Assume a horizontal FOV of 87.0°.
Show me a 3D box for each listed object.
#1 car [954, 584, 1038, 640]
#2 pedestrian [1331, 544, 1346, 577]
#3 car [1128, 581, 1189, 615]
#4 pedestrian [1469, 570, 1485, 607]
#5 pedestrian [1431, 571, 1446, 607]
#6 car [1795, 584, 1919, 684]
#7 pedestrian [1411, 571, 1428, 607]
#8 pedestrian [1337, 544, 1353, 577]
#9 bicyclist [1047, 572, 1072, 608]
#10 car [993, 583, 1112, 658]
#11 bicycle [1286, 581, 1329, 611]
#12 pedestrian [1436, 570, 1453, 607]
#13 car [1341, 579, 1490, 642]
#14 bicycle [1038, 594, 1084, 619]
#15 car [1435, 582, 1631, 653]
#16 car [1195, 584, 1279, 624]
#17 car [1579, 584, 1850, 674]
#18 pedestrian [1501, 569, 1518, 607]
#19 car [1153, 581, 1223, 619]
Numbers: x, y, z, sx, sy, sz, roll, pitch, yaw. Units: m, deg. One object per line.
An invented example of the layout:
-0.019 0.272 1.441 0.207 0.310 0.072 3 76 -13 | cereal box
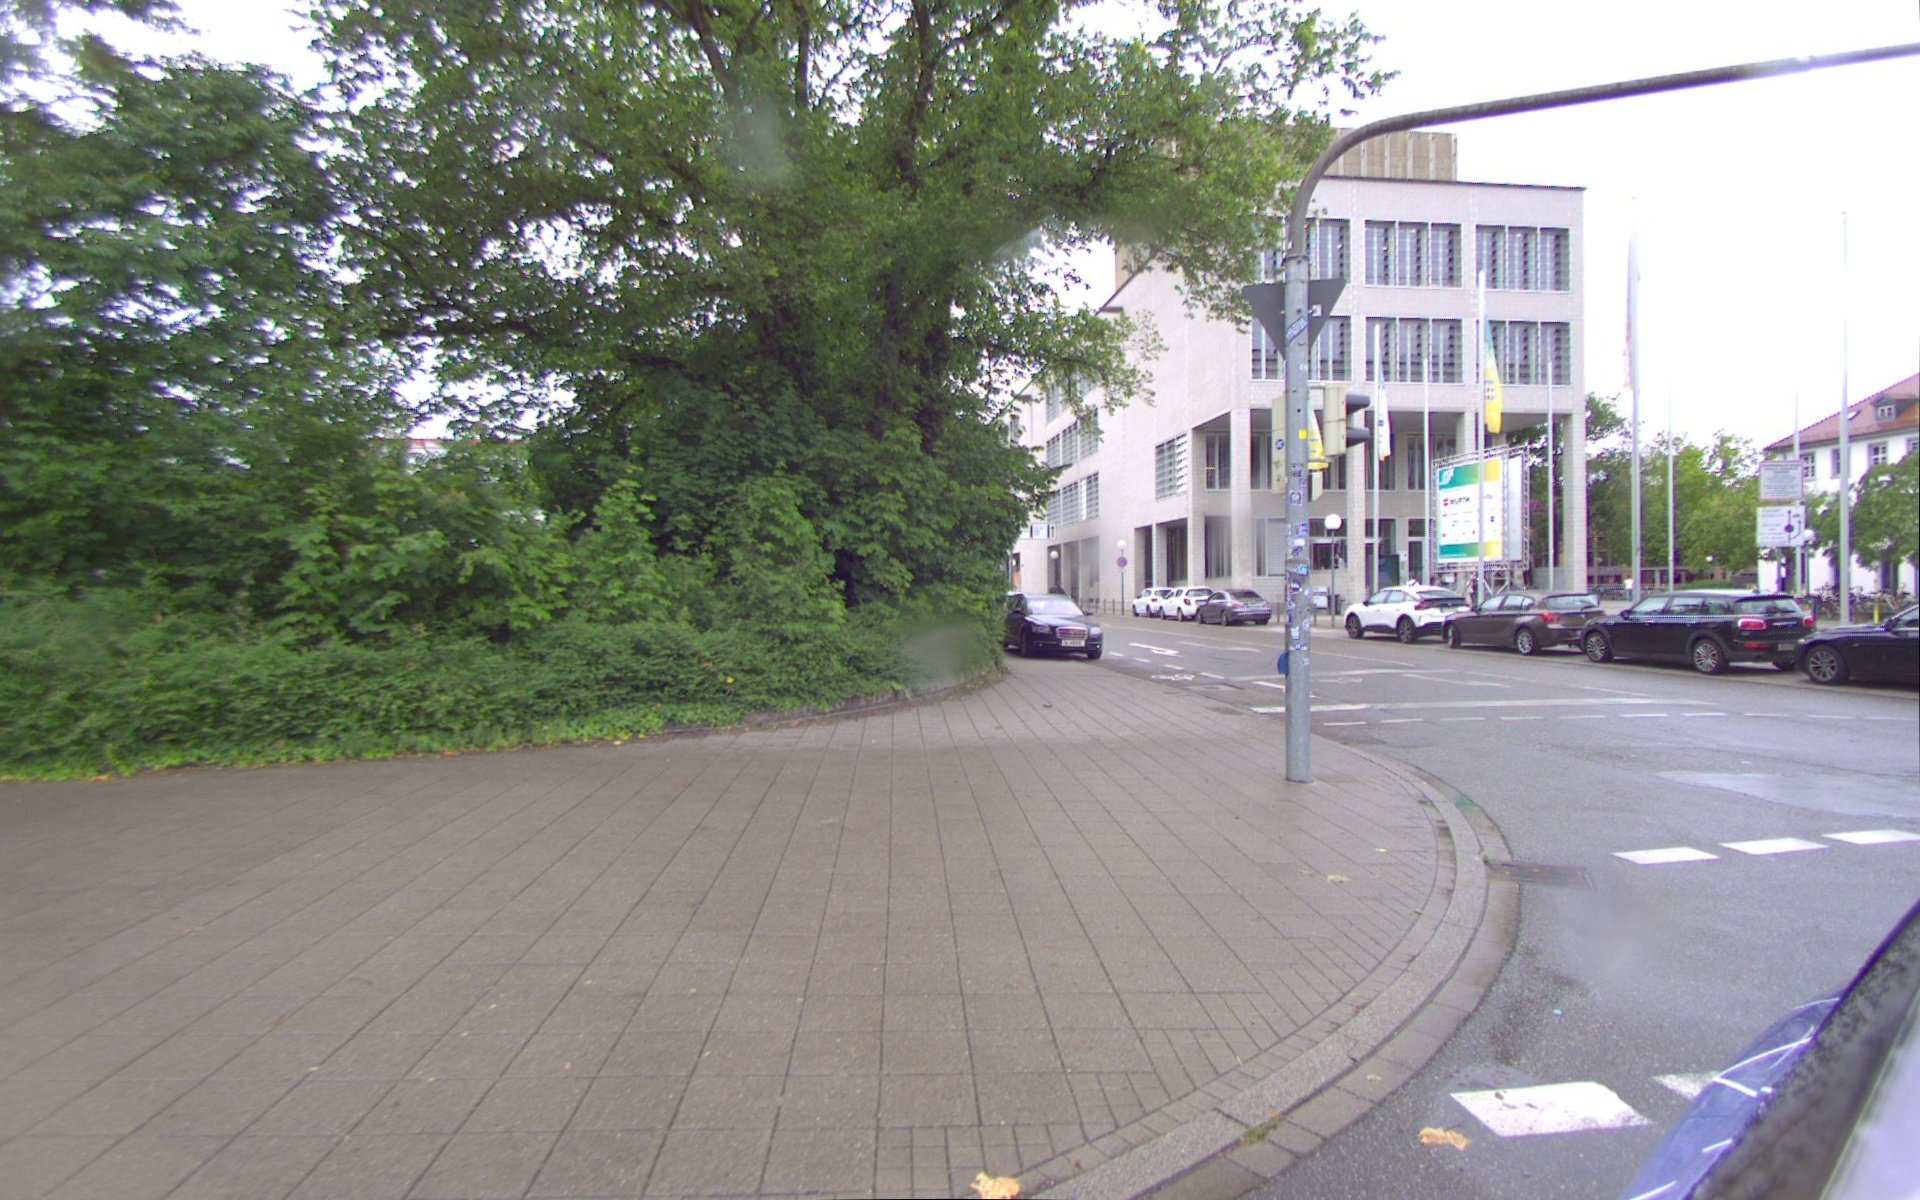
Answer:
1.055 0.325 31.741 1.736 1.536 4.109 -1 2 -11 | car
17.847 -1.867 47.695 0.563 1.535 0.537 -1 0 34 | pedestrian
9.865 -0.104 50.637 1.737 1.537 4.105 -3 1 -7 | car
21.859 -0.492 42.767 0.462 1.535 0.564 -1 0 15 | pedestrian
20.650 -0.491 43.701 0.462 1.535 0.564 -1 0 15 | pedestrian
14.643 0.485 14.234 1.737 1.354 4.396 -3 1 -8 | car
19.547 -0.471 43.050 0.535 1.535 0.564 -1 0 15 | pedestrian
18.350 -1.879 48.242 0.563 1.535 0.536 -1 0 36 | pedestrian
4.606 -0.460 46.781 0.882 1.644 0.795 -1 0 29 | bicyclist
2.088 0.407 24.073 1.736 1.536 4.109 -1 2 -11 | car
16.071 -0.188 46.856 0.906 1.346 2.971 -1 0 -1 | bicycle
20.403 -0.475 42.643 0.535 1.535 0.564 -1 0 15 | pedestrian
12.707 0.258 28.542 1.737 1.537 4.107 -3 1 -10 | car
4.649 0.290 46.758 1.980 1.111 0.795 0 0 29 | bicycle
13.311 0.365 23.857 1.737 1.416 4.243 -3 1 -8 | car
10.973 0.141 40.412 1.737 1.419 4.105 -3 1 -7 | car
13.871 0.463 18.956 1.738 1.395 4.021 -3 1 -6 | car
22.376 -0.480 41.220 0.462 1.535 0.564 -1 0 15 | pedestrian
10.281 -0.032 45.933 1.737 1.537 4.105 -3 1 -7 | car
